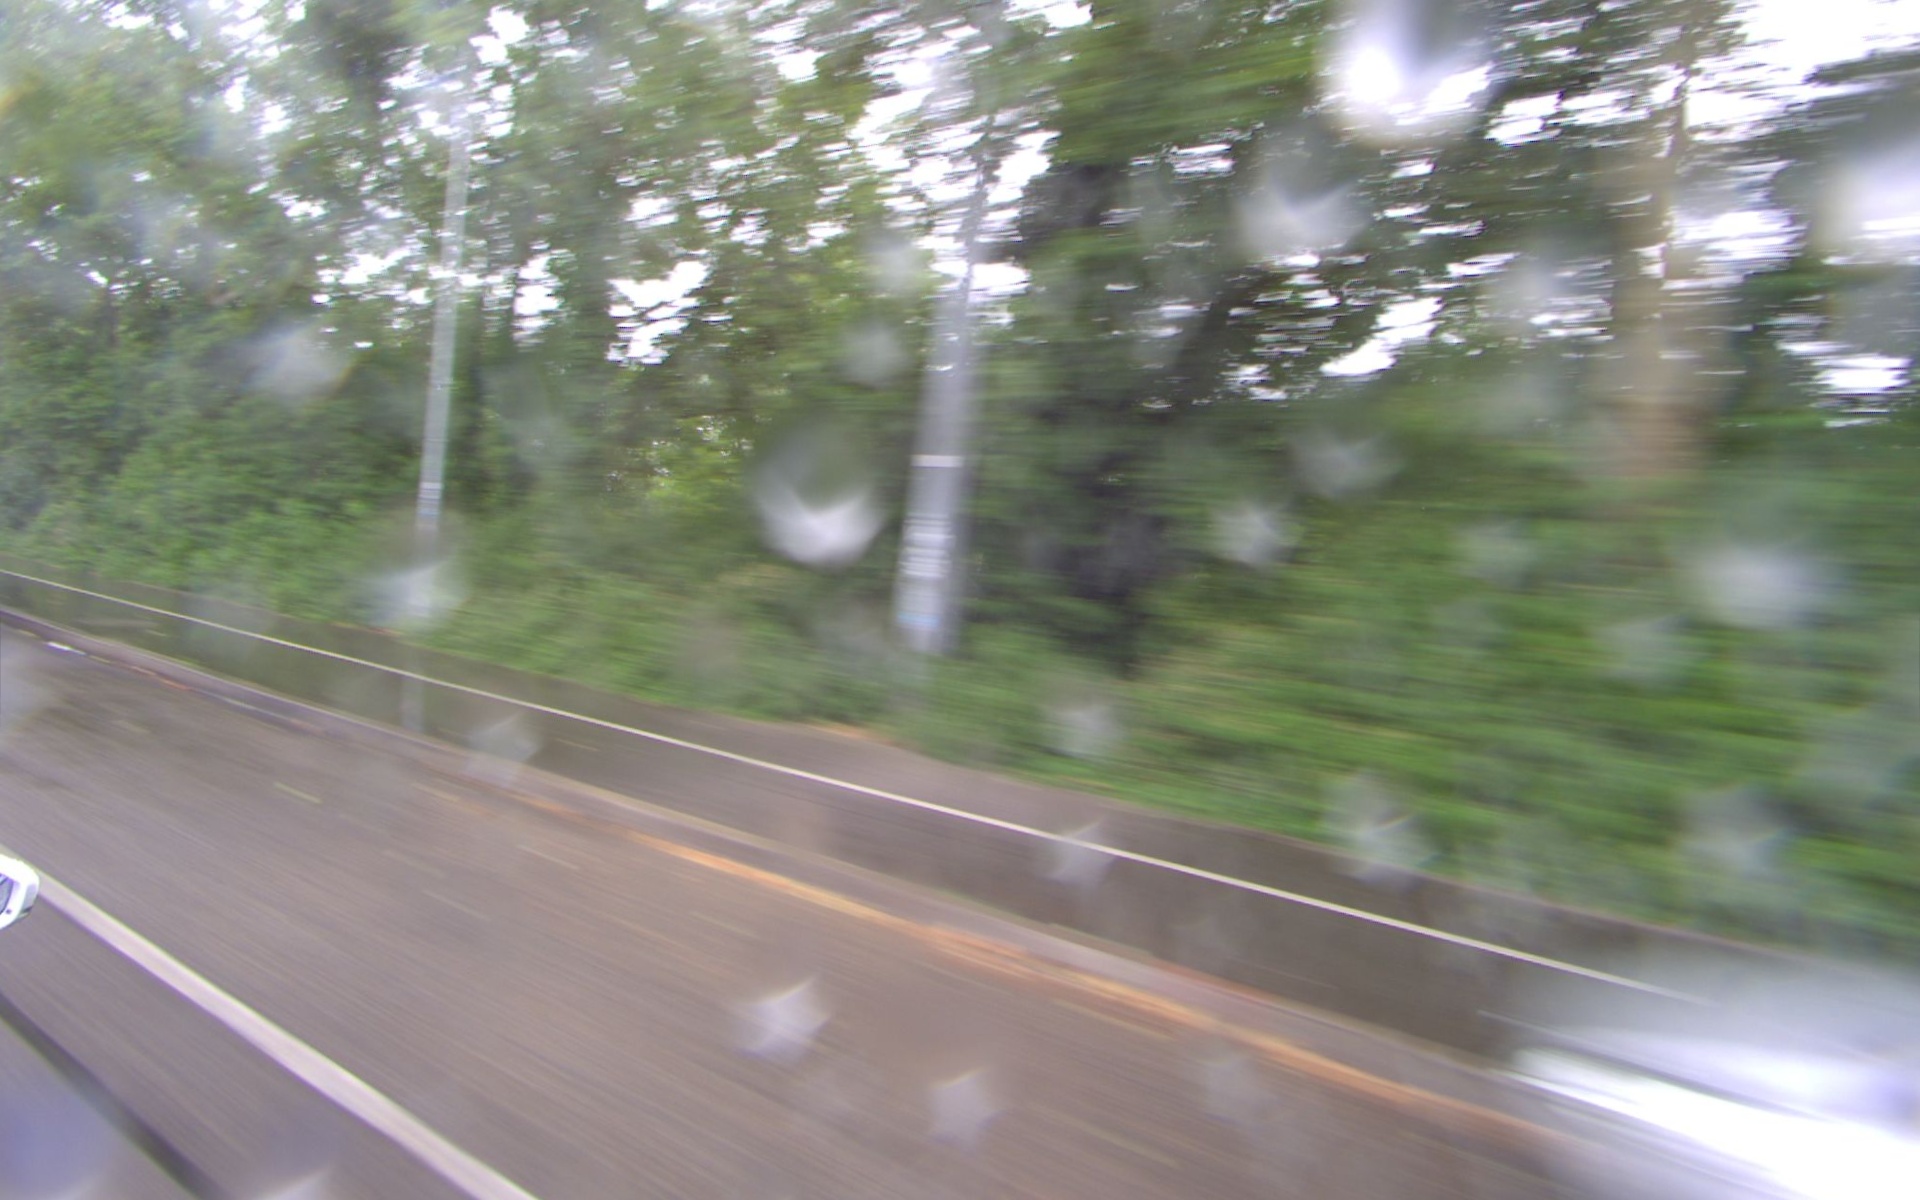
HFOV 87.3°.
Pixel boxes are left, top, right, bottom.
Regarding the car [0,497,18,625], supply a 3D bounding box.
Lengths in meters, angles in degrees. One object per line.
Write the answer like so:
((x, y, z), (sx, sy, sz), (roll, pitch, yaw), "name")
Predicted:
((-12.668, -0.674, 11.299), (4.406, 1.503, 1.823), (7, -2, 31), "car")

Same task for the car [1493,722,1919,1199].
((3.403, 1.281, 1.753), (4.273, 1.476, 1.816), (6, -2, 31), "car")
